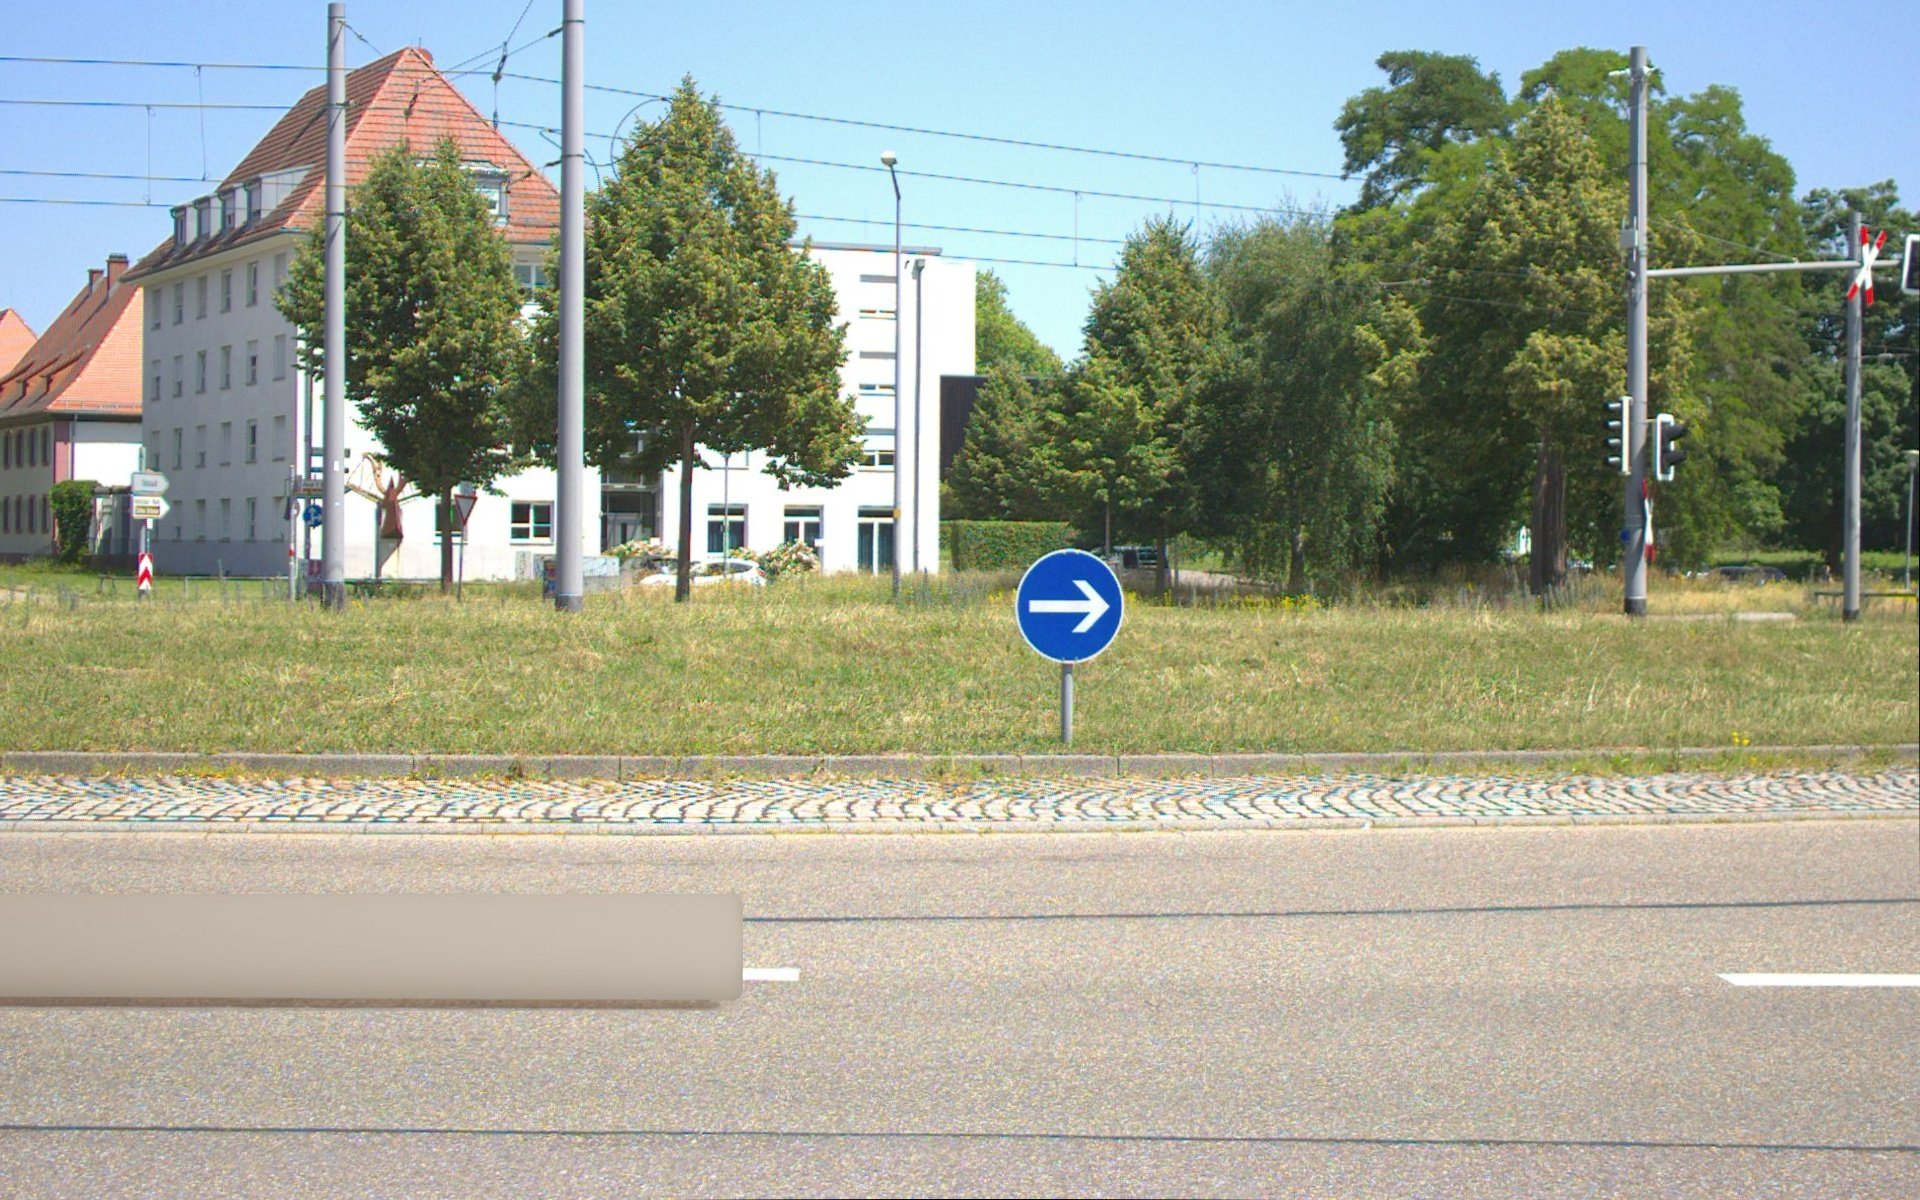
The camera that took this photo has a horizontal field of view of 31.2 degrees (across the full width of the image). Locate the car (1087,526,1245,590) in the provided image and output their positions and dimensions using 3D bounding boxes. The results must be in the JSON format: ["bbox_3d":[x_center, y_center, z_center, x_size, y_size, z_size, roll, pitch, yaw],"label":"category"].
[{"bbox_3d":[5.880,-1.207,98.214,3.985,1.678,2.001,2,0,-19],"label":"car"}]

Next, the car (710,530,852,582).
[{"bbox_3d":[-5.356,-1.319,102.908,3.886,1.415,1.717,2,0,-19],"label":"car"}]

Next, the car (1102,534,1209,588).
[{"bbox_3d":[7.786,-1.537,136.676,3.988,2.007,1.999,2,0,9],"label":"car"}]

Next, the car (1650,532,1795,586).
[{"bbox_3d":[24.002,-1.285,108.227,3.994,1.568,1.997,2,0,30],"label":"car"}]
